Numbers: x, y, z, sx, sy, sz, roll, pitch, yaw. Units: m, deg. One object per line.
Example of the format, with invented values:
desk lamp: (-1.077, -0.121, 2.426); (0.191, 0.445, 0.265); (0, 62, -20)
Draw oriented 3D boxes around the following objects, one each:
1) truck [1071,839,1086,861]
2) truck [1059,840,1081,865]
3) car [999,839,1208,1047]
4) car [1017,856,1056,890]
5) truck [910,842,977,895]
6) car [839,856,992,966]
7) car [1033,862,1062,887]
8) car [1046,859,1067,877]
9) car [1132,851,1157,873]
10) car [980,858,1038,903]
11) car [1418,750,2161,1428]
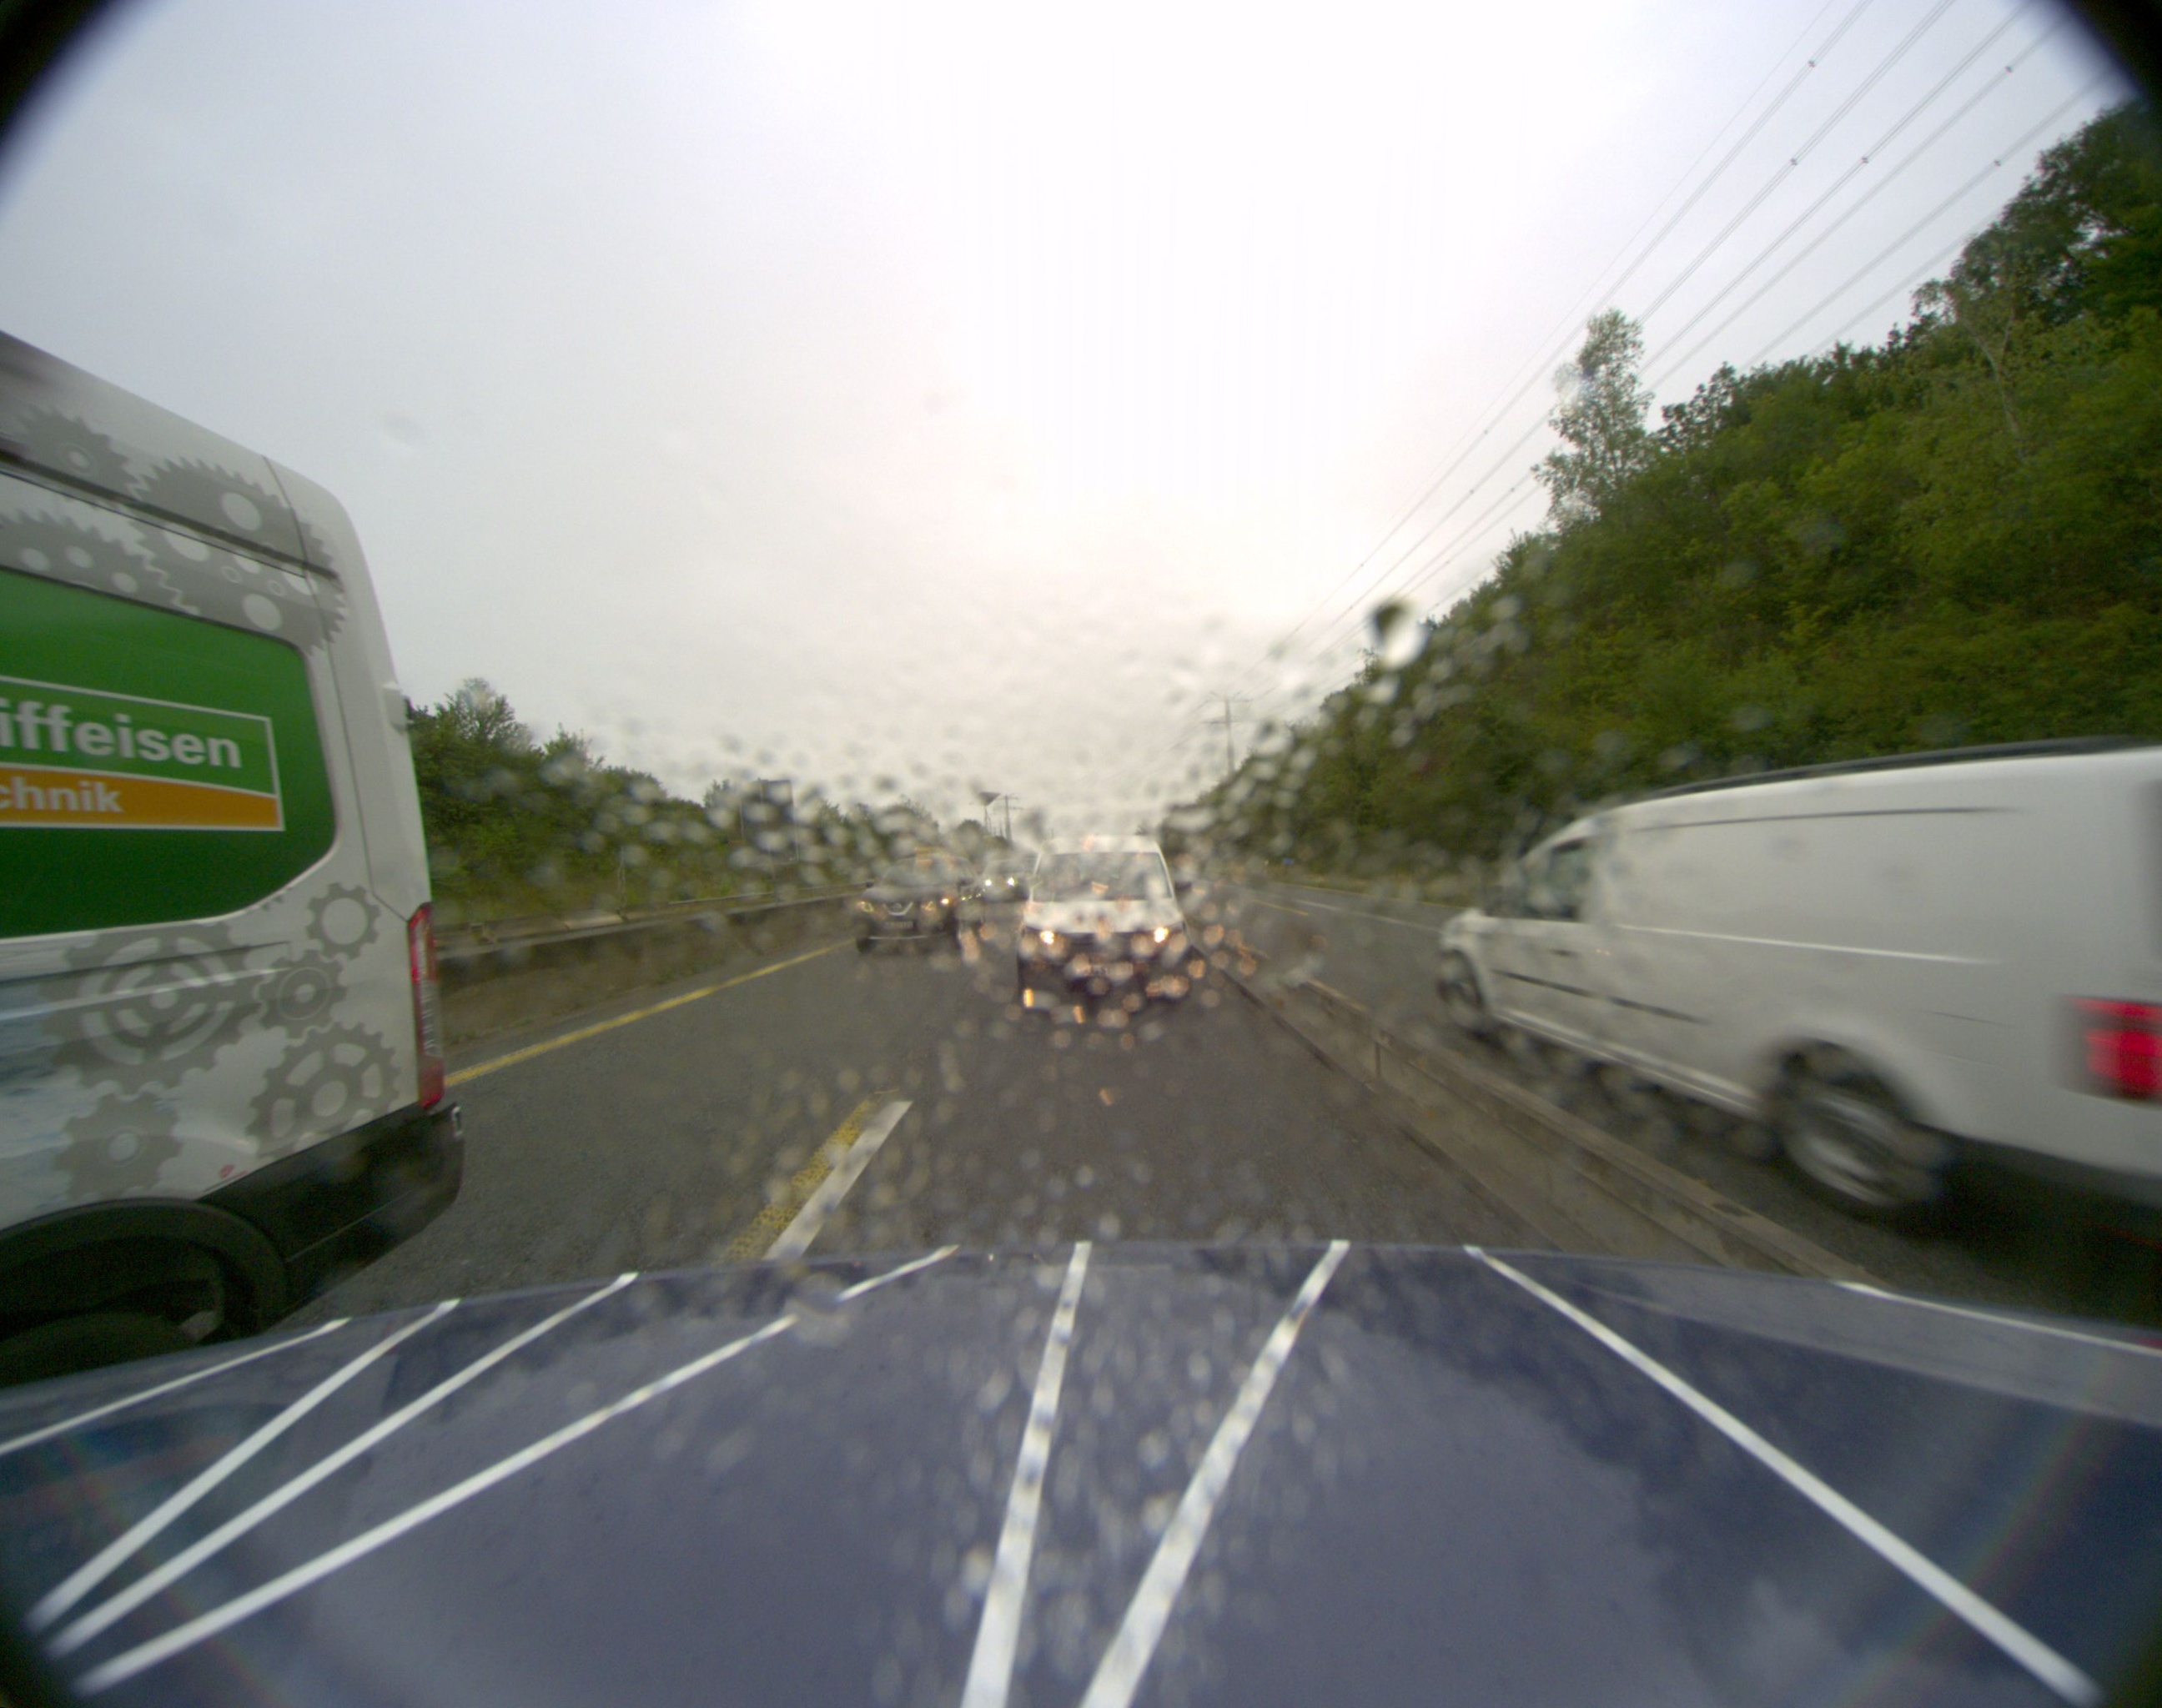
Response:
truck: (-0.441, -0.745, 143.391); (2.619, 3.868, 9.574); (-2, 1, 0)
truck: (-1.507, -0.199, 110.997); (2.619, 3.404, 9.575); (-2, 1, 2)
car: (0.195, 0.764, 9.040); (1.784, 1.775, 4.697); (-2, 1, 0)
car: (-2.269, 0.951, 39.788); (1.784, 1.589, 4.123); (-2, 1, 0)
truck: (-9.708, 0.925, 54.702); (2.619, 3.404, 9.576); (-2, 1, 2)
car: (-2.968, 0.940, 14.730); (1.894, 1.665, 4.640); (-2, 1, 0)
car: (-2.232, 1.347, 51.875); (1.784, 1.482, 4.123); (-2, 1, 0)
car: (-2.218, 1.281, 70.343); (1.784, 1.482, 4.123); (-2, 1, 0)
car: (5.070, 0.578, 61.144); (1.814, 1.623, 4.118); (-2, 1, 2)
car: (-2.698, 0.968, 29.355); (1.784, 1.482, 4.123); (-2, 1, 0)
car: (3.750, 0.584, 3.987); (1.815, 1.813, 4.634); (-2, 1, -1)
